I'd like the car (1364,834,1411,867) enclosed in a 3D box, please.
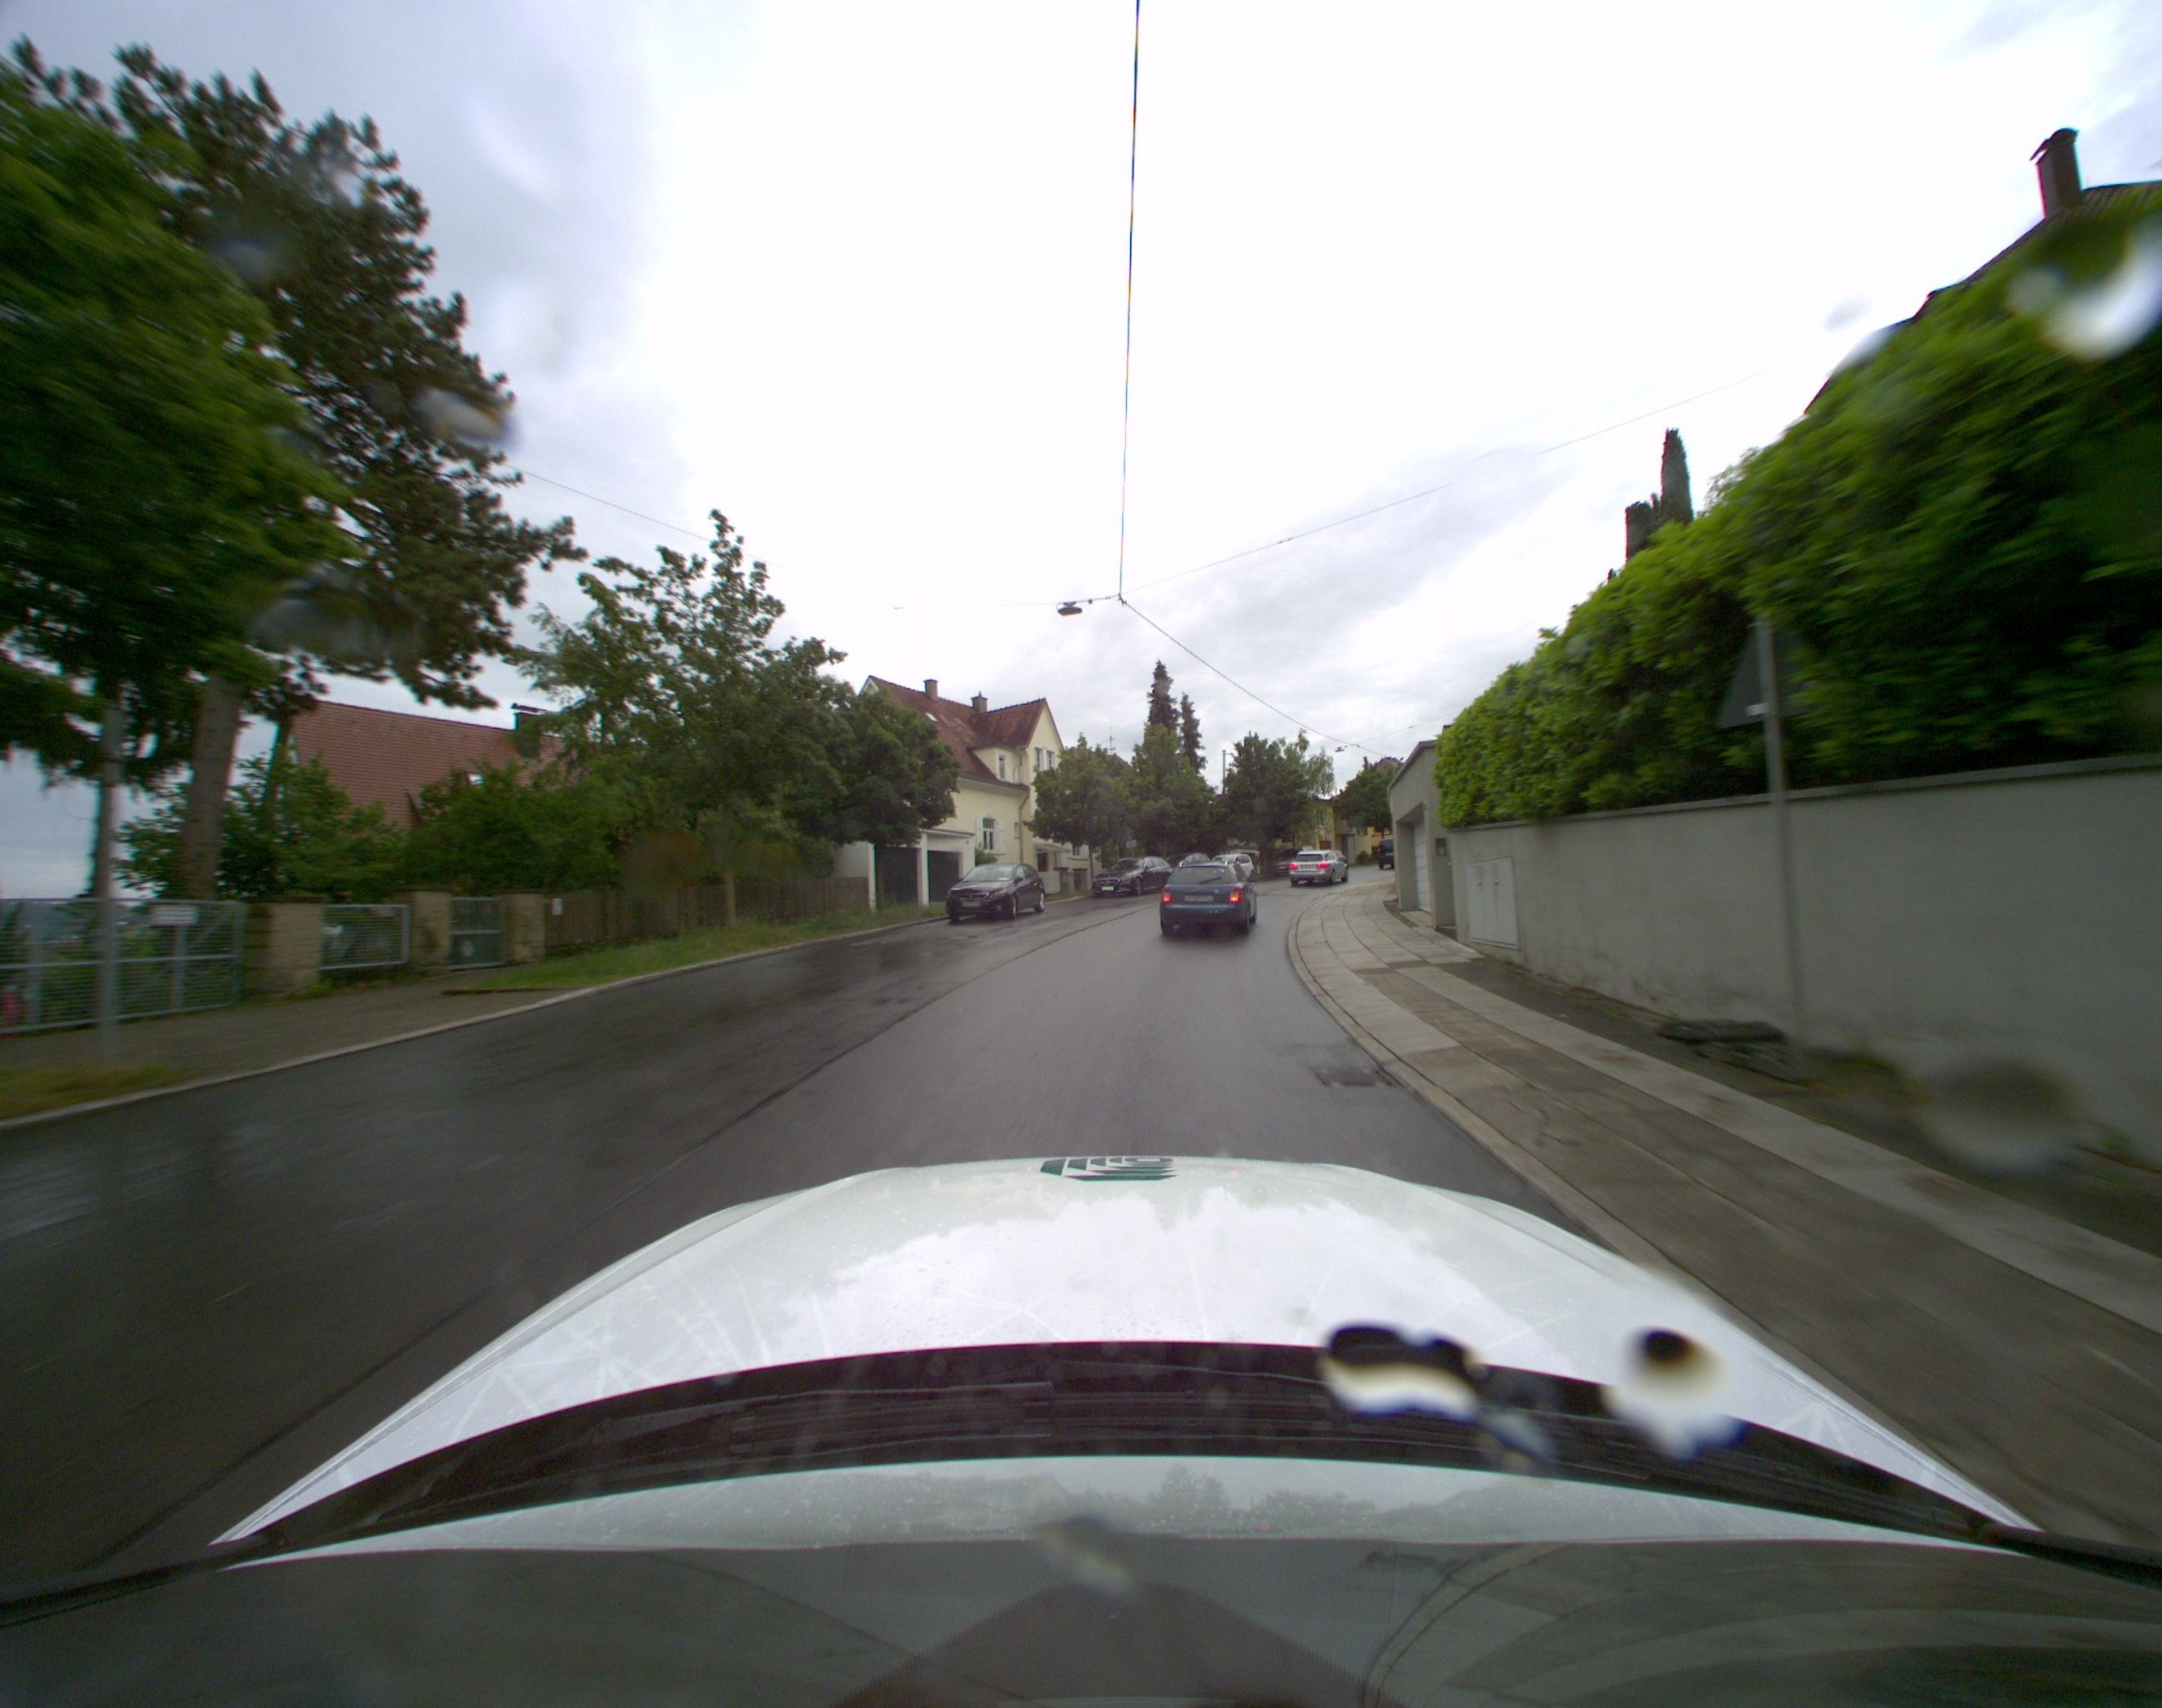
[{"bbox_3d":[18.957,-0.243,50.231,1.716,1.768,4.263,-3,2,33],"label":"car"}]

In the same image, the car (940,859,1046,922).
[{"bbox_3d":[-2.301,0.931,22.315,1.658,1.466,3.908,-4,-1,12],"label":"car"}]

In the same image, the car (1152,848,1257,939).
[{"bbox_3d":[2.711,0.740,17.115,1.721,1.466,4.016,-4,2,14],"label":"car"}]

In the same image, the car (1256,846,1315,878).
[{"bbox_3d":[12.400,0.454,49.270,1.783,1.669,4.455,-6,-2,36],"label":"car"}]

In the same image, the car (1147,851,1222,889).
[{"bbox_3d":[4.802,0.718,37.387,1.716,1.545,4.237,-3,-1,32],"label":"car"}]

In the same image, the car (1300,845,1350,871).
[{"bbox_3d":[15.889,0.261,52.959,1.665,1.472,3.890,-6,-2,38],"label":"car"}]

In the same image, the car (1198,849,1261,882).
[{"bbox_3d":[7.690,0.582,41.908,1.716,1.466,4.026,-3,0,32],"label":"car"}]

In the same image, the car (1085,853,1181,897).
[{"bbox_3d":[2.204,0.812,33.063,1.849,1.545,4.935,-3,-1,29],"label":"car"}]

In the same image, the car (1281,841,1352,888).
[{"bbox_3d":[10.226,0.407,35.208,1.956,1.635,4.262,-3,2,29],"label":"car"}]
